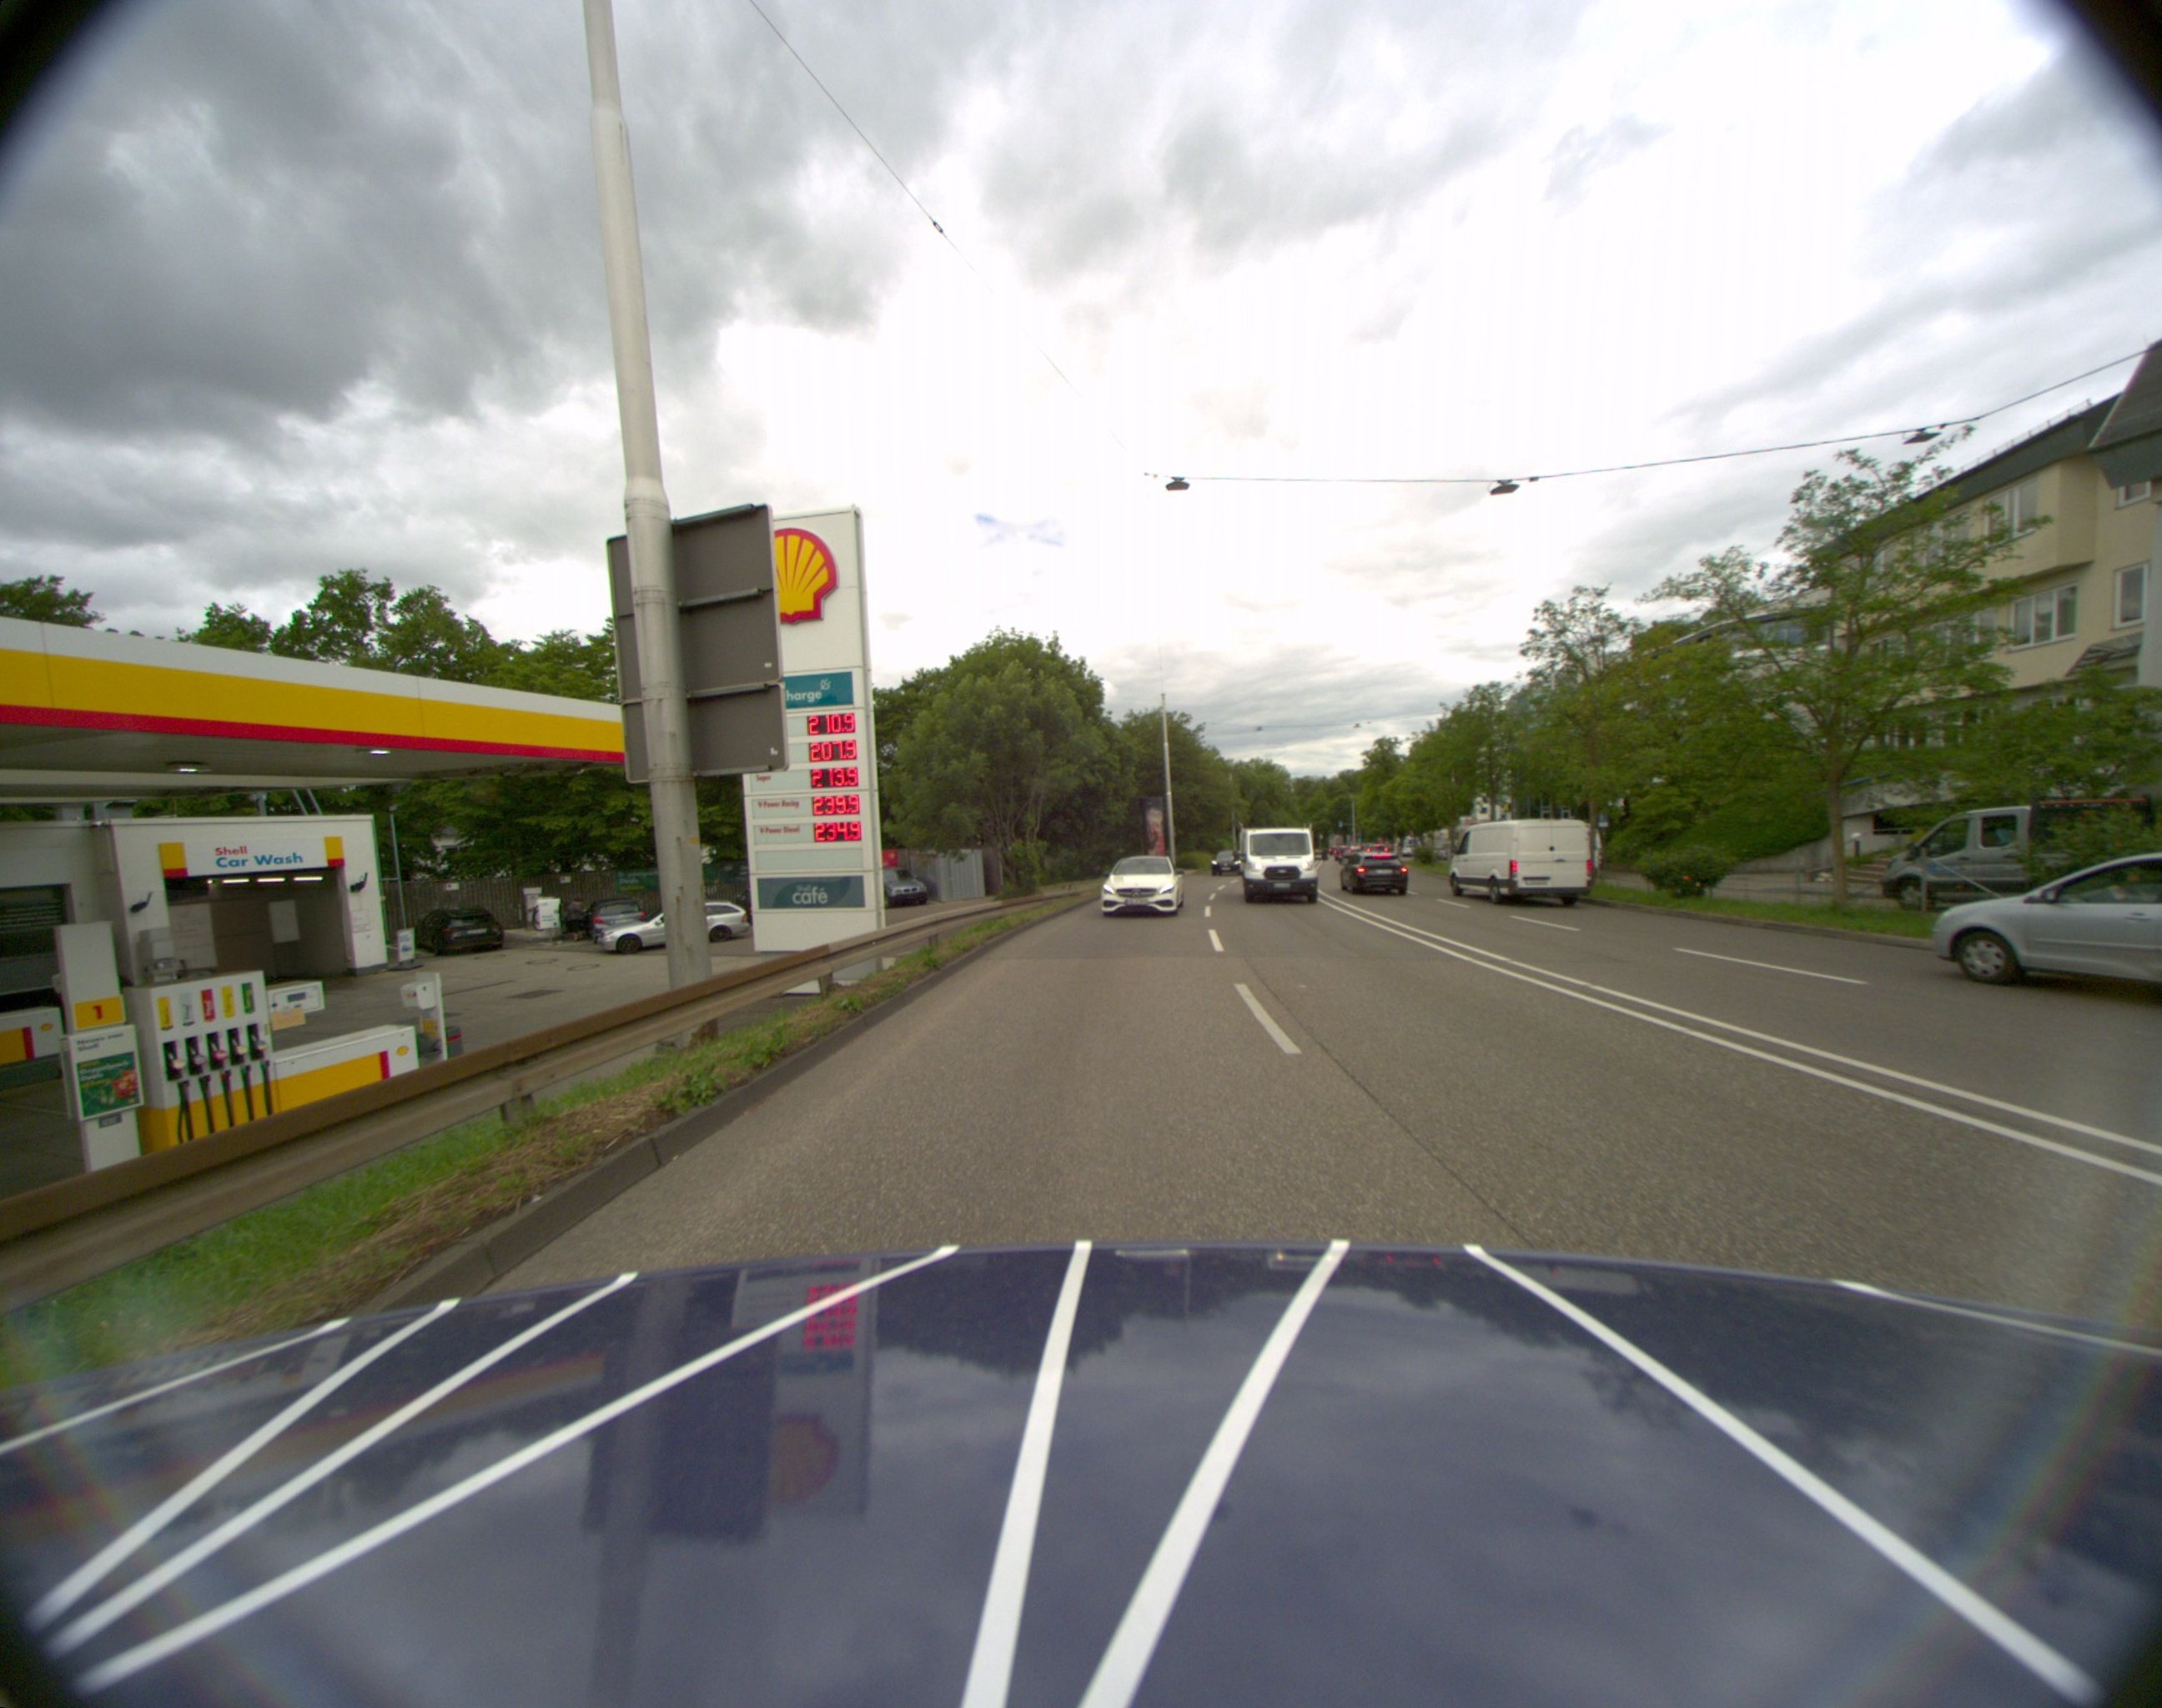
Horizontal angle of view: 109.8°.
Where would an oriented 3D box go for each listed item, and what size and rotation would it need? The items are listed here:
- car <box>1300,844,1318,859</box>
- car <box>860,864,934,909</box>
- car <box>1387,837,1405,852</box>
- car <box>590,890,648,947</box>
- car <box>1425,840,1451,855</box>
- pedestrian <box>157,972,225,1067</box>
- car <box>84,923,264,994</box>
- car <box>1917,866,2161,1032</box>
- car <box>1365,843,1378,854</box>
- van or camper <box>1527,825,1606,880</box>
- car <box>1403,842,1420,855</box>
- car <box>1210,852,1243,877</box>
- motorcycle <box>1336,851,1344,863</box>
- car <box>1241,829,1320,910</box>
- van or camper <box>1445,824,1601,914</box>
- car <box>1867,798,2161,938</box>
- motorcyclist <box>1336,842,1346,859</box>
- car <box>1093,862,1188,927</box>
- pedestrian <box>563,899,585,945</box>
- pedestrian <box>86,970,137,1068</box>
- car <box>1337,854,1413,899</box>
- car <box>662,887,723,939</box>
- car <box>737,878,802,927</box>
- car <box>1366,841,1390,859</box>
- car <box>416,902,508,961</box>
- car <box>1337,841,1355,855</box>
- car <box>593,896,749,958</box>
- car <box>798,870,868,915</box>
[{"bbox_3d":[24.308,-0.274,81.048,1.727,1.469,4.004,-3,0,16],"label":"car"},{"bbox_3d":[-8.390,1.406,34.401,1.737,1.583,4.281,-7,6,-34],"label":"car"},{"bbox_3d":[55.349,-1.740,133.553,1.996,2.511,6.541,-3,0,16],"label":"car"},{"bbox_3d":[-16.916,2.284,27.833,1.631,1.511,4.089,-3,4,-31],"label":"car"},{"bbox_3d":[36.350,-0.683,77.359,1.675,1.420,4.423,1,1,16],"label":"car"},{"bbox_3d":[-17.108,3.167,14.616,0.543,1.695,0.610,-2,1,13],"label":"pedestrian"},{"bbox_3d":[-24.803,2.801,20.804,3.869,1.478,1.742,-1,4,19],"label":"car"},{"bbox_3d":[10.423,0.860,6.836,1.706,1.400,3.809,-1,0,2],"label":"car"},{"bbox_3d":[49.755,-0.981,130.237,1.766,1.698,4.876,-2,0,16],"label":"car"},{"bbox_3d":[23.257,-0.105,36.665,1.995,2.459,5.717,-1,1,20],"label":"van or camper"},{"bbox_3d":[41.039,-0.700,94.276,1.670,1.495,4.244,-1,1,20],"label":"car"},{"bbox_3d":[8.868,0.625,46.572,1.732,1.403,4.002,-2,0,8],"label":"car"},{"bbox_3d":[23.212,0.242,68.112,0.484,1.050,2.270,0,1,15],"label":"motorcycle"},{"bbox_3d":[6.172,0.416,23.408,1.996,2.161,6.275,-1,0,15],"label":"car"},{"bbox_3d":[12.560,0.361,22.148,2.012,2.248,5.966,-1,0,10],"label":"van or camper"},{"bbox_3d":[18.832,0.186,14.150,2.272,2.260,6.329,-1,1,6],"label":"car"},{"bbox_3d":[23.137,-0.311,67.722,0.761,1.476,0.962,2,2,15],"label":"motorcyclist"},{"bbox_3d":[1.612,0.933,19.060,1.819,1.339,4.003,0,1,13],"label":"car"},{"bbox_3d":[-17.893,2.391,26.818,0.470,1.530,0.430,-7,1,-34],"label":"pedestrian"},{"bbox_3d":[-17.960,3.046,14.079,0.491,1.695,0.432,-1,1,27],"label":"pedestrian"},{"bbox_3d":[10.095,0.716,26.408,1.738,1.406,4.433,0,0,12],"label":"car"},{"bbox_3d":[-15.073,2.208,29.358,1.737,1.428,4.205,-3,4,-31],"label":"car"},{"bbox_3d":[-12.939,1.941,31.395,1.737,1.429,4.281,-6,5,-31],"label":"car"},{"bbox_3d":[25.704,-0.354,65.849,1.787,1.566,4.474,0,1,19],"label":"car"},{"bbox_3d":[-21.066,2.554,25.801,4.093,1.428,1.726,2,4,42],"label":"car"},{"bbox_3d":[29.382,-0.679,84.299,1.787,1.530,4.080,-1,0,17],"label":"car"},{"bbox_3d":[-13.675,2.365,25.475,4.300,1.424,1.597,-4,4,-38],"label":"car"},{"bbox_3d":[-10.713,1.574,32.660,1.737,1.419,4.281,-6,5,-32],"label":"car"}]
